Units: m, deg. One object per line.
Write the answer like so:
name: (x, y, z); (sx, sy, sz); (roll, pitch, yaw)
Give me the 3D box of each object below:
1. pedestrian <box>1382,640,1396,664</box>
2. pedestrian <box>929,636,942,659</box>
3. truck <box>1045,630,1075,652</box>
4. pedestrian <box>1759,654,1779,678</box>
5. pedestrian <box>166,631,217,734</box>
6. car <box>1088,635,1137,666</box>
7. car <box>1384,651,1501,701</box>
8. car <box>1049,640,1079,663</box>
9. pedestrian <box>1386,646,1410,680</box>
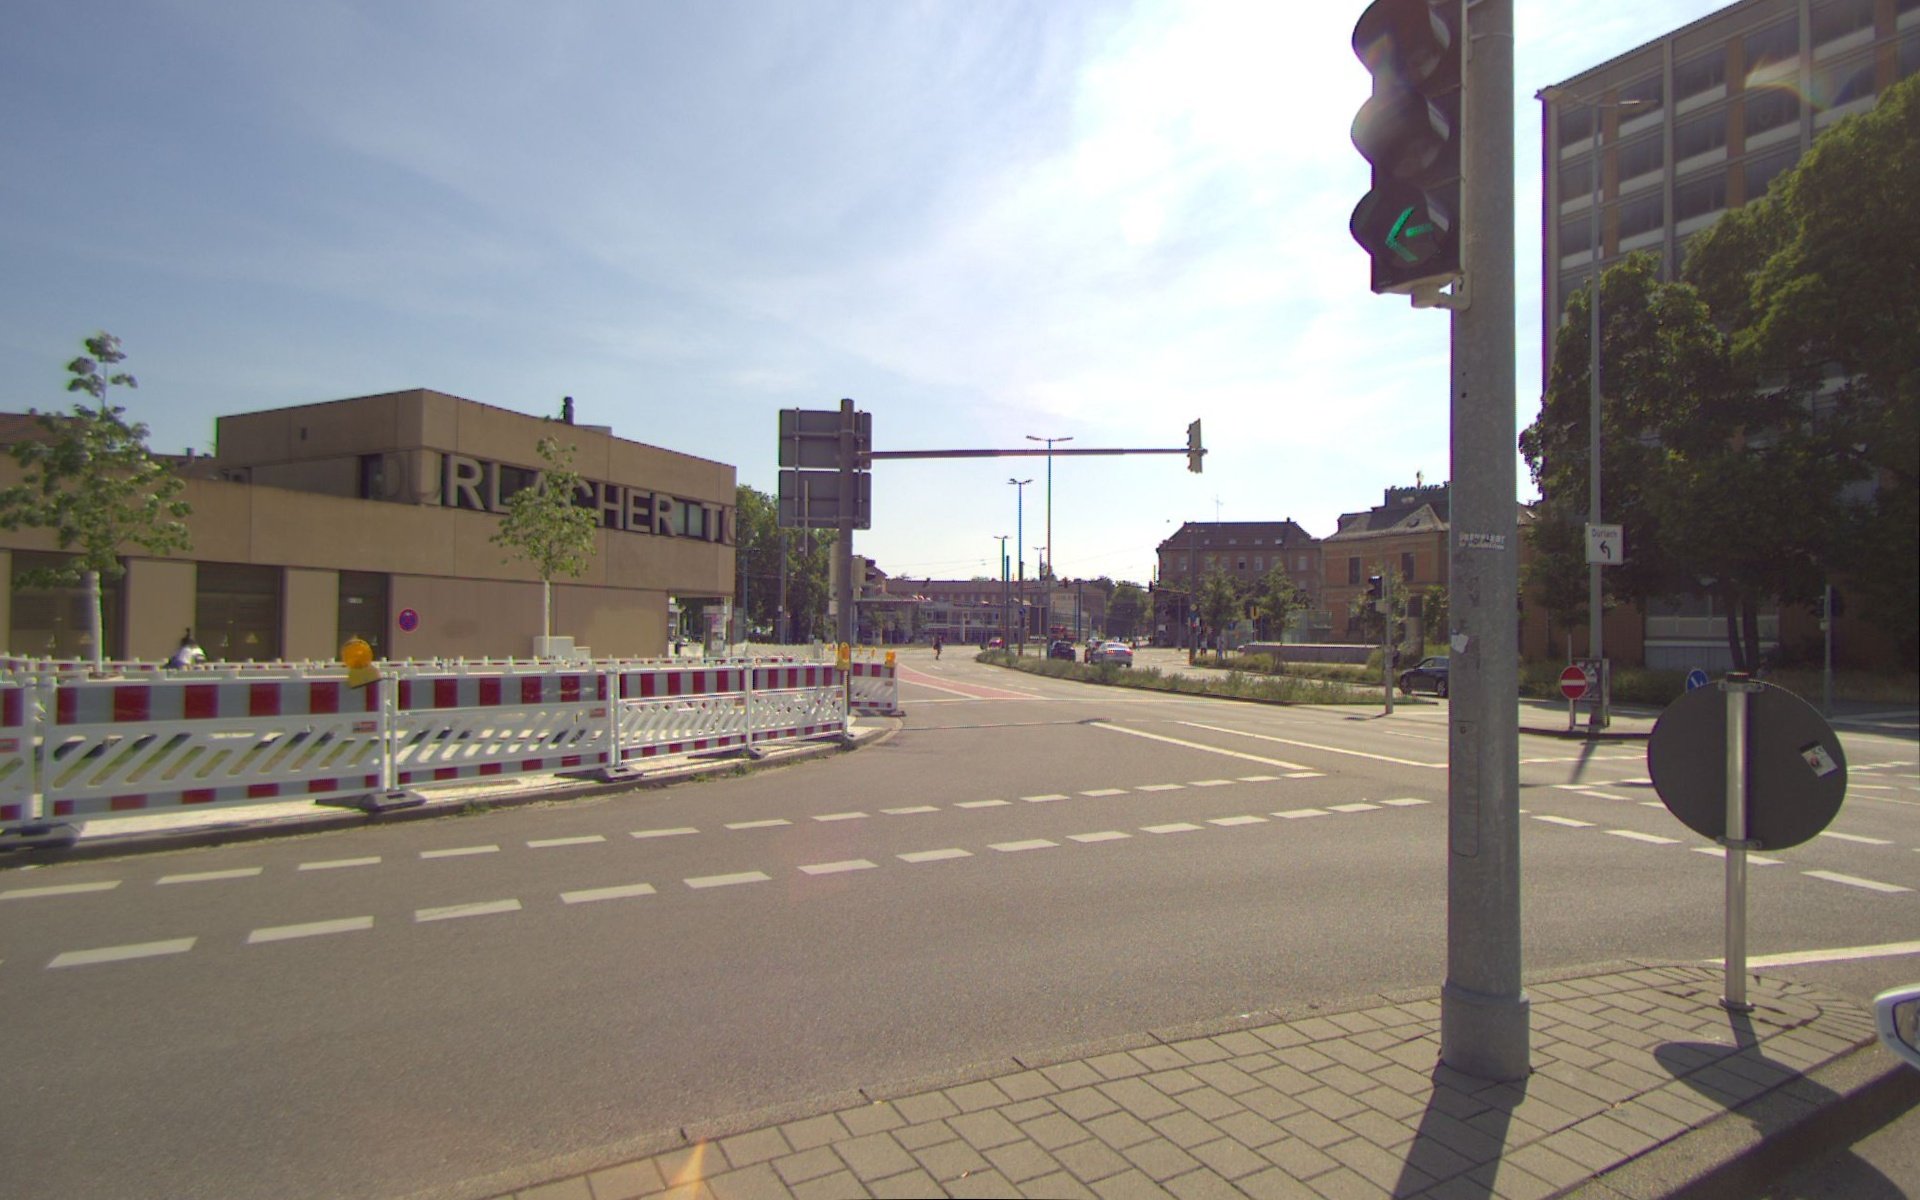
pedestrian: (30.661, 3.698, 71.794); (0.641, 1.683, 0.647); (2, -2, -22)
pedestrian: (-1.797, 3.490, 73.847); (0.645, 1.683, 0.655); (3, -3, -42)
truck: (17.654, 7.295, 177.248); (3.015, 3.779, 7.928); (0, -2, 23)
pedestrian: (30.377, 2.479, 37.711); (0.387, 0.903, 0.427); (1, -2, -21)
pedestrian: (-12.099, 1.285, 15.825); (0.416, 1.585, 0.557); (1, -2, -13)
car: (9.520, 3.117, 62.938); (1.963, 1.839, 3.996); (1, -2, -7)
car: (16.589, 2.579, 34.749); (1.767, 1.530, 3.996); (2, -2, -8)
car: (7.274, 3.570, 70.459); (1.764, 1.530, 4.001); (1, -2, 1)
pedestrian: (22.745, 3.255, 52.215); (0.857, 1.748, 0.799); (1, -2, -7)
